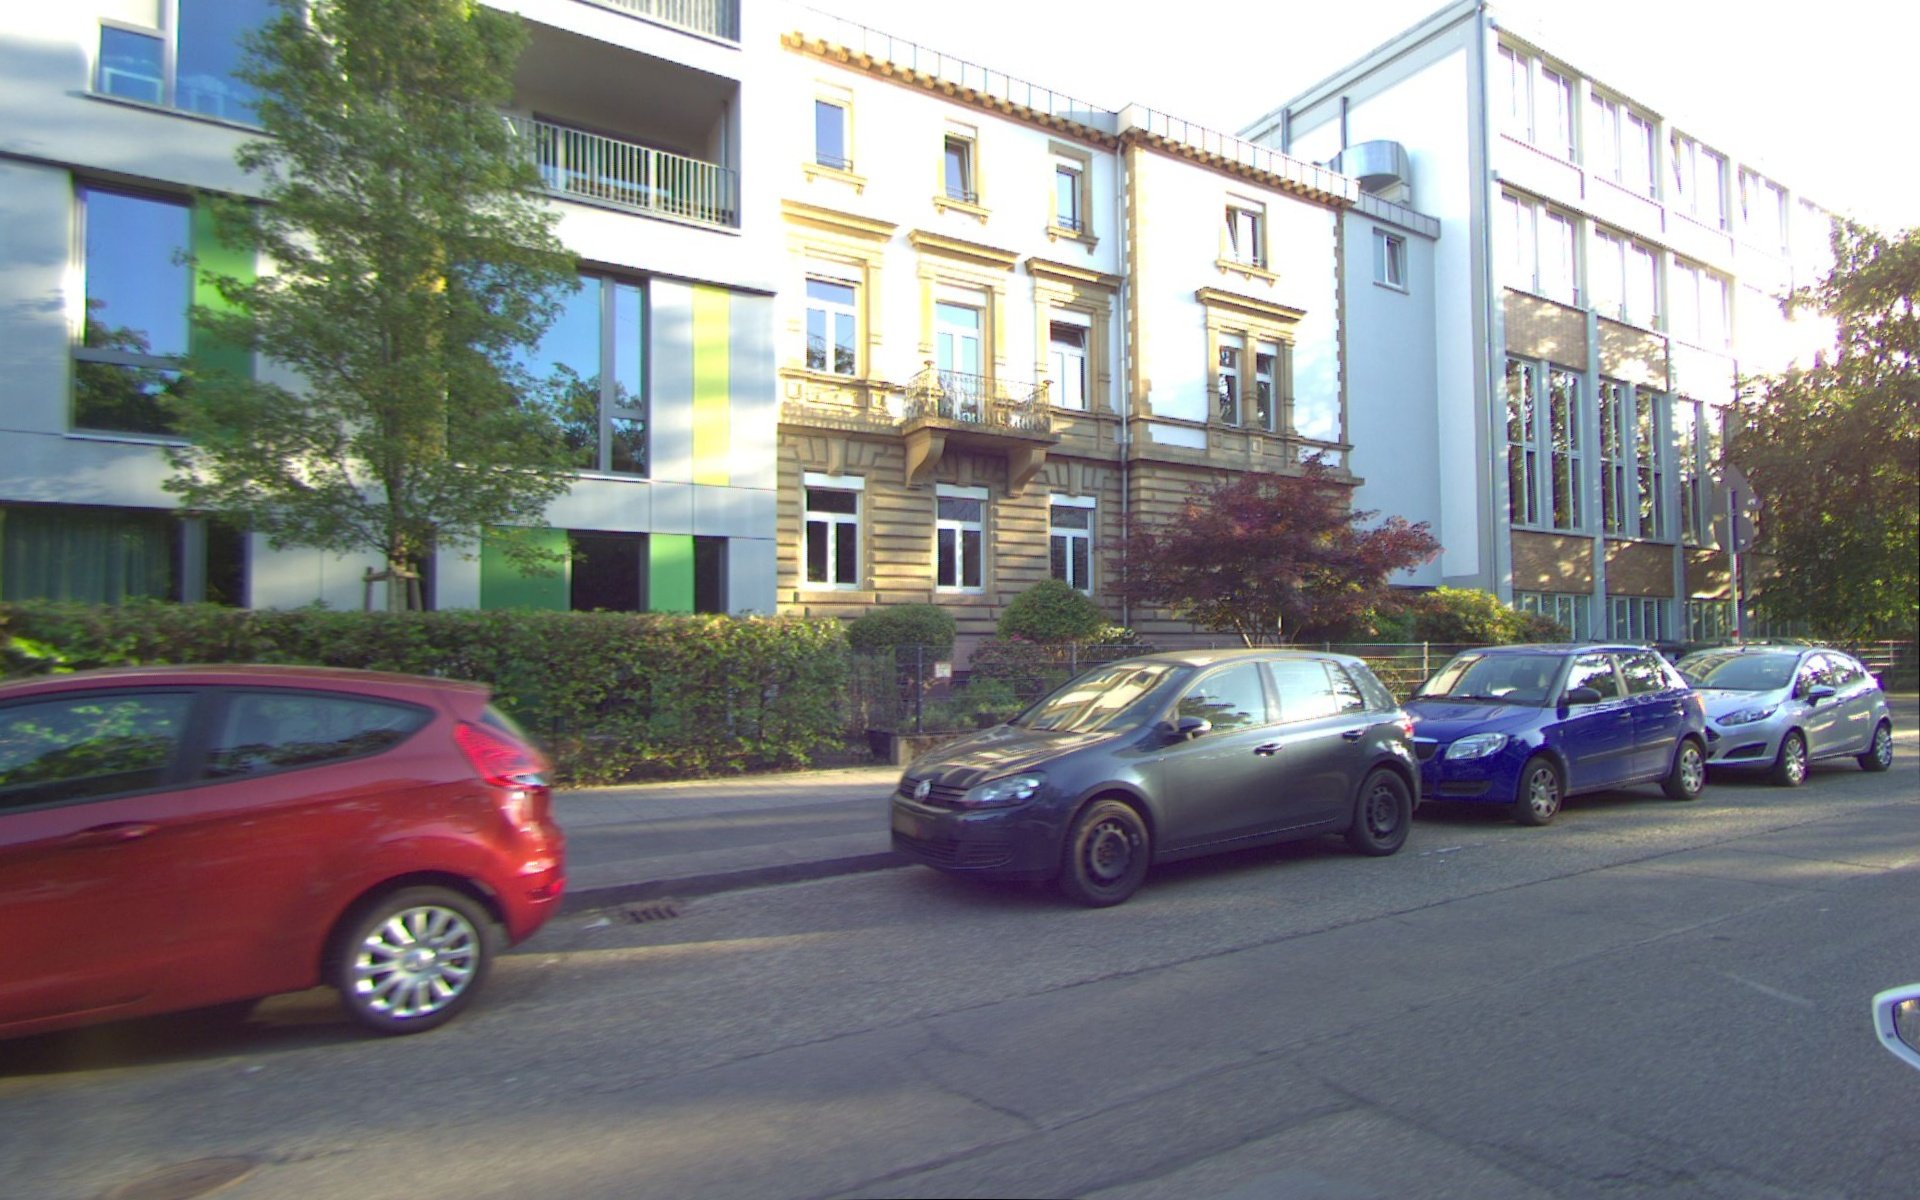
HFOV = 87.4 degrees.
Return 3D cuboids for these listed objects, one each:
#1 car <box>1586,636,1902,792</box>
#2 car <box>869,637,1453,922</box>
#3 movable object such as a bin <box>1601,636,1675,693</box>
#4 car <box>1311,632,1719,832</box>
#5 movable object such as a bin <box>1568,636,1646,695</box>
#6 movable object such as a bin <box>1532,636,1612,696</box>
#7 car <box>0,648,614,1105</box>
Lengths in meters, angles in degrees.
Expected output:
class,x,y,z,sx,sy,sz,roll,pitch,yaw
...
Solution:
class,x,y,z,sx,sy,sz,roll,pitch,yaw
car,9.204,1.237,11.751,3.727,1.513,1.594,0,-4,-30
car,1.517,1.057,7.131,4.008,1.474,1.591,0,-4,-31
movable object such as a bin,17.994,1.700,26.669,1.355,1.449,1.095,1,-2,-27
car,5.299,1.124,9.533,3.740,1.527,1.592,0,-4,-29
movable object such as a bin,16.729,1.673,25.995,1.467,1.449,1.095,1,-2,-27
movable object such as a bin,15.406,1.645,25.300,1.499,1.449,1.095,1,-2,-27
car,-3.520,0.958,4.017,3.817,1.474,1.591,1,-4,-31
